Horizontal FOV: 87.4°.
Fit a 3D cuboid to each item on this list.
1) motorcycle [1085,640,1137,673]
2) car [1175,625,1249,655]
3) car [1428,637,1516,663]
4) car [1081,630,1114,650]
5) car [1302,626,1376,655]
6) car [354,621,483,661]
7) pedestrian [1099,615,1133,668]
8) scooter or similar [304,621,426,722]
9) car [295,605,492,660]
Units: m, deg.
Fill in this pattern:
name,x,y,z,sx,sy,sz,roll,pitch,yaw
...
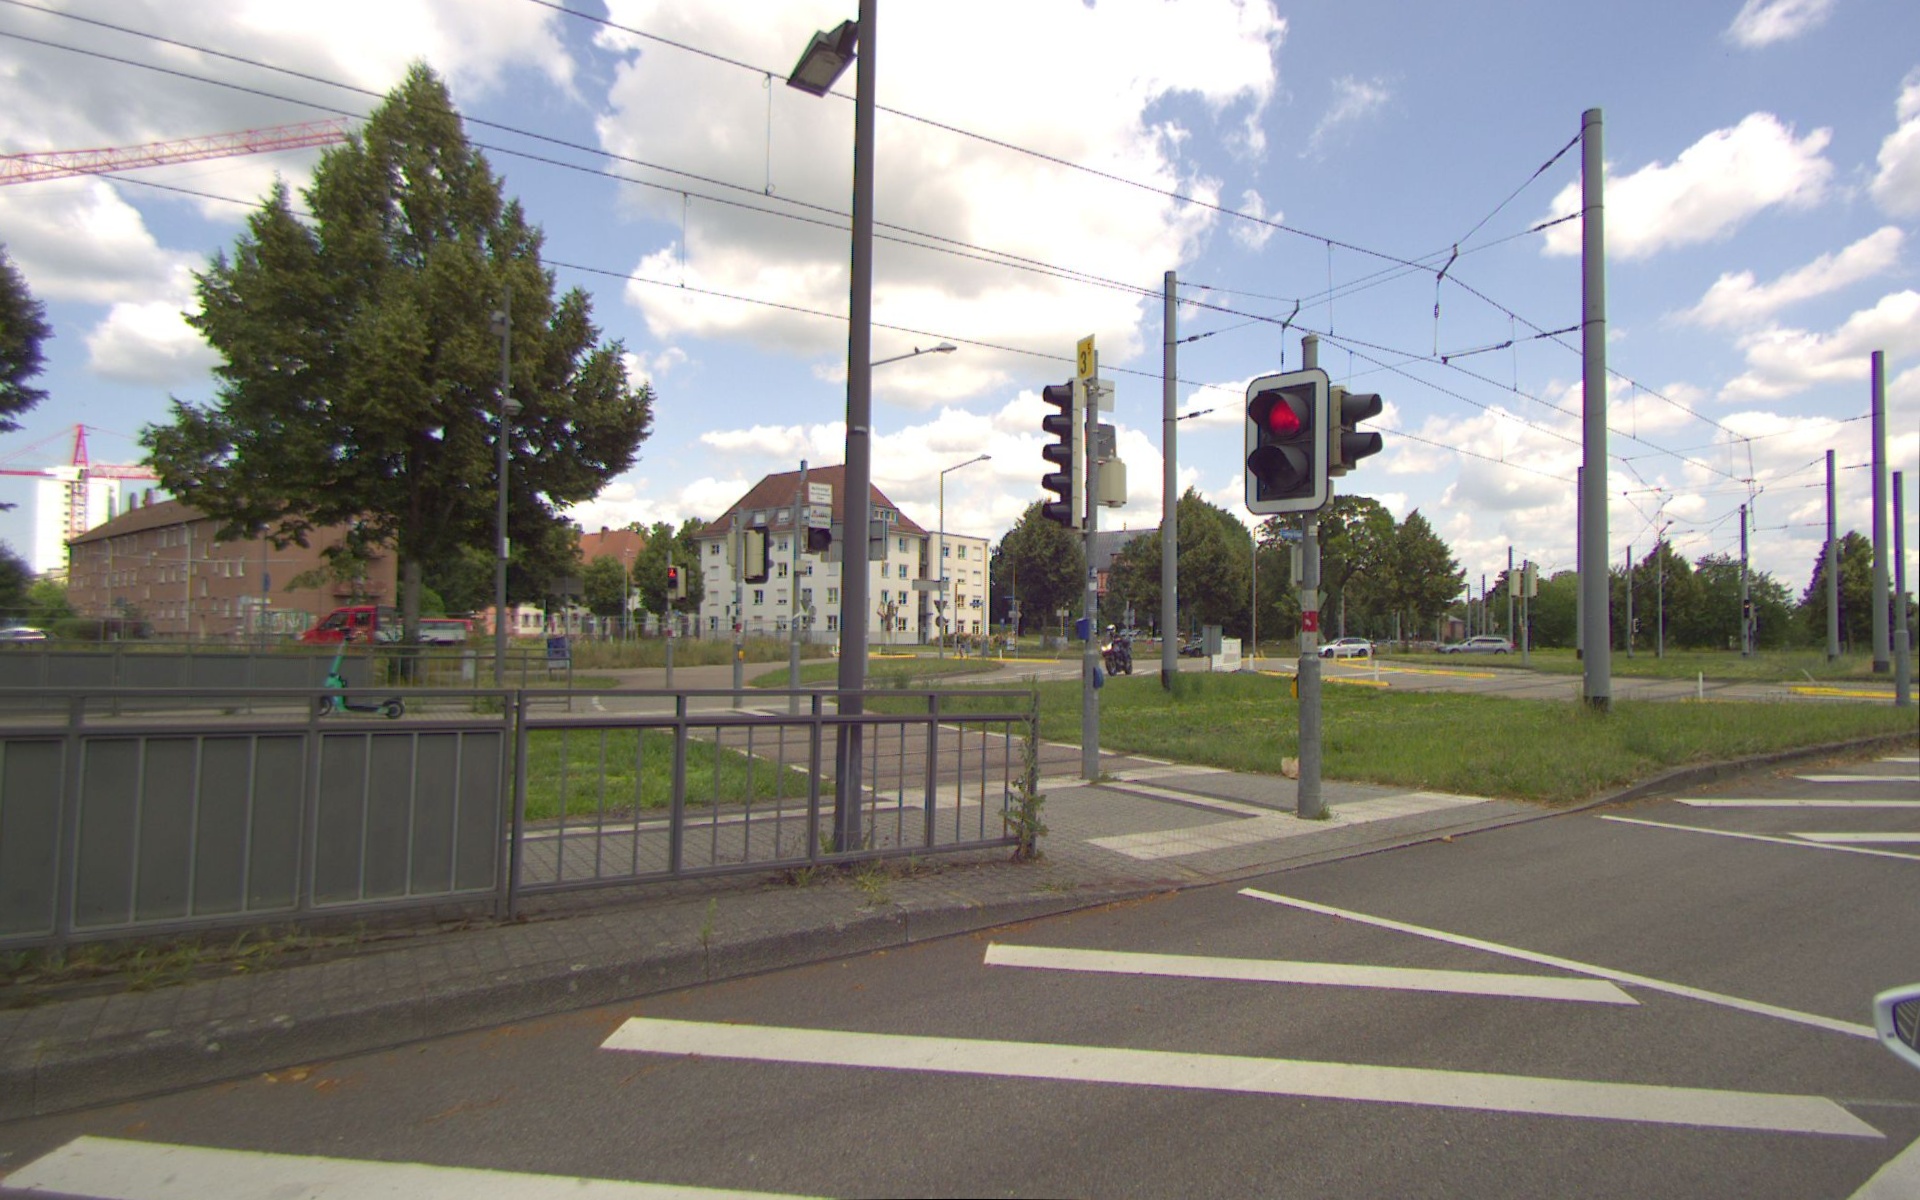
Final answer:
name,x,y,z,sx,sy,sz,roll,pitch,yaw
motorcycle,4.889,1.812,32.378,0.564,1.006,2.183,-1,-2,41
car,17.647,2.790,70.466,4.639,2.040,1.997,0,-1,-9
car,34.341,3.349,67.498,4.846,1.648,2.066,0,0,0
car,14.343,4.179,104.620,1.965,2.040,3.991,-1,-2,31
car,27.453,2.908,72.838,4.642,2.040,1.996,0,-1,-11
car,-26.130,1.985,48.648,5.096,1.876,2.082,1,-2,-14
pedestrian,5.044,1.329,32.564,0.814,1.695,0.769,-1,-2,41
scooter or similar,-8.241,0.991,13.947,1.323,1.319,0.418,3,-2,-13
car,-23.564,1.371,42.105,6.714,2.226,2.391,1,-2,-10
